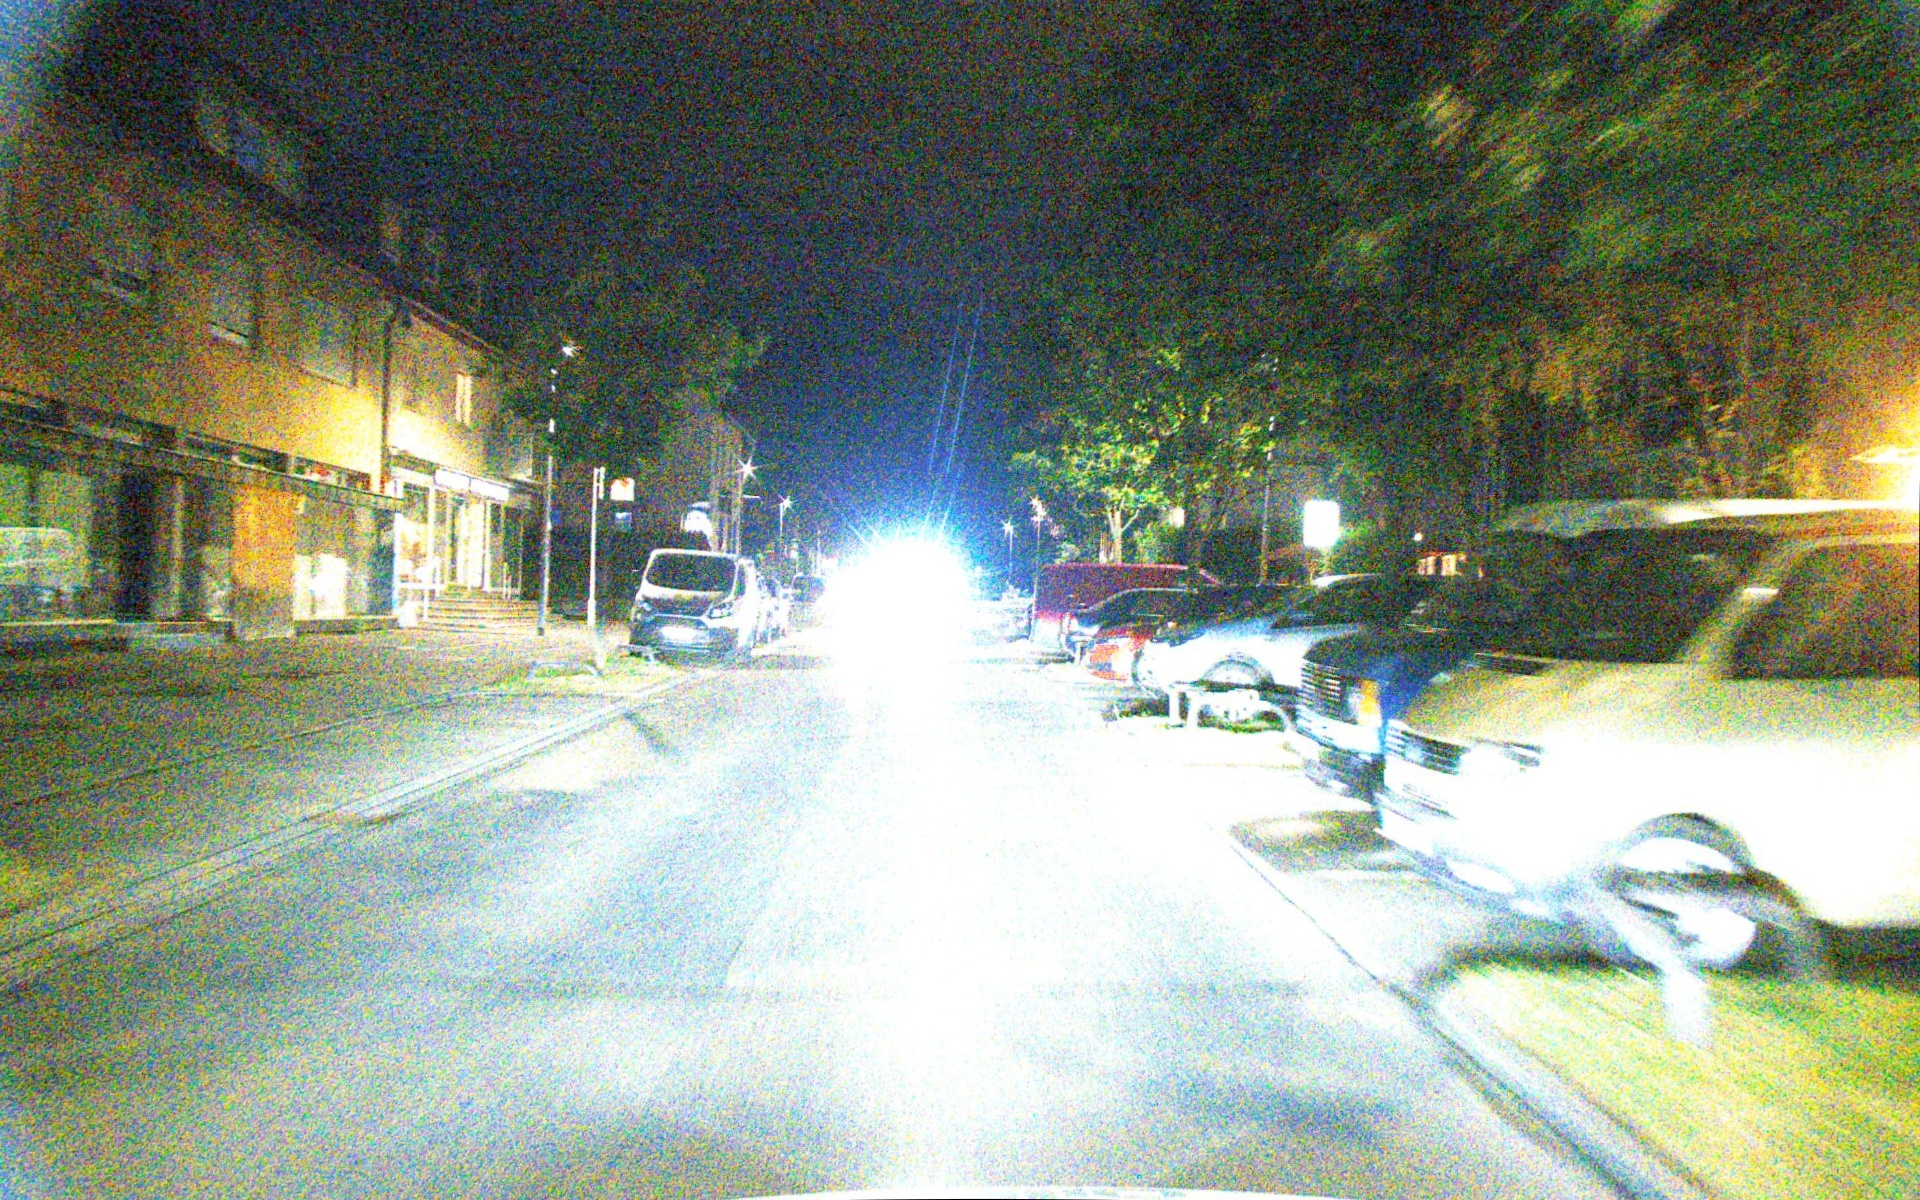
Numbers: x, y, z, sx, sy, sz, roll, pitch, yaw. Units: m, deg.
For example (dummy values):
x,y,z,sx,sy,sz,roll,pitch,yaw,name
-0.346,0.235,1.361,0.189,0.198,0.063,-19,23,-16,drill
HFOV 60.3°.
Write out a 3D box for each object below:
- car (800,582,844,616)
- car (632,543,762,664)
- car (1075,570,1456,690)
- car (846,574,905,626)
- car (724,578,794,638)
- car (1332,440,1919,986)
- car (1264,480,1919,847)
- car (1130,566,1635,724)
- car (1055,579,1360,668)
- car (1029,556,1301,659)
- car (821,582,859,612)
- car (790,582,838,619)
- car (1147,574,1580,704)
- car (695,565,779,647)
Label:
x,y,z,sx,sy,sz,roll,pitch,yaw,name
-5.791,-0.063,69.565,1.649,1.354,3.598,1,1,-2,car
-4.829,0.040,30.953,1.788,2.021,4.464,3,0,-2,car
4.309,0.402,23.910,5.078,1.622,2.101,0,1,-2,car
-2.814,-0.029,55.631,1.888,1.677,3.820,0,1,-2,car
-5.174,0.181,42.884,1.503,1.476,3.118,1,1,-2,car
4.443,0.396,7.375,5.078,2.049,2.101,0,1,-2,car
4.664,0.331,10.443,5.078,2.049,2.101,0,1,-2,car
4.562,0.453,18.422,5.078,1.622,2.101,0,1,-2,car
4.309,0.384,29.426,5.078,1.495,2.101,0,1,-2,car
3.982,0.137,32.137,5.072,1.920,2.103,0,1,8,car
-5.734,-0.164,79.438,1.649,1.354,3.598,1,1,-2,car
-5.595,0.017,63.665,1.649,1.354,3.598,1,1,-2,car
5.092,0.458,21.372,5.078,1.551,2.101,0,1,-2,car
-5.059,0.113,37.851,1.503,1.717,3.211,3,0,-2,car
